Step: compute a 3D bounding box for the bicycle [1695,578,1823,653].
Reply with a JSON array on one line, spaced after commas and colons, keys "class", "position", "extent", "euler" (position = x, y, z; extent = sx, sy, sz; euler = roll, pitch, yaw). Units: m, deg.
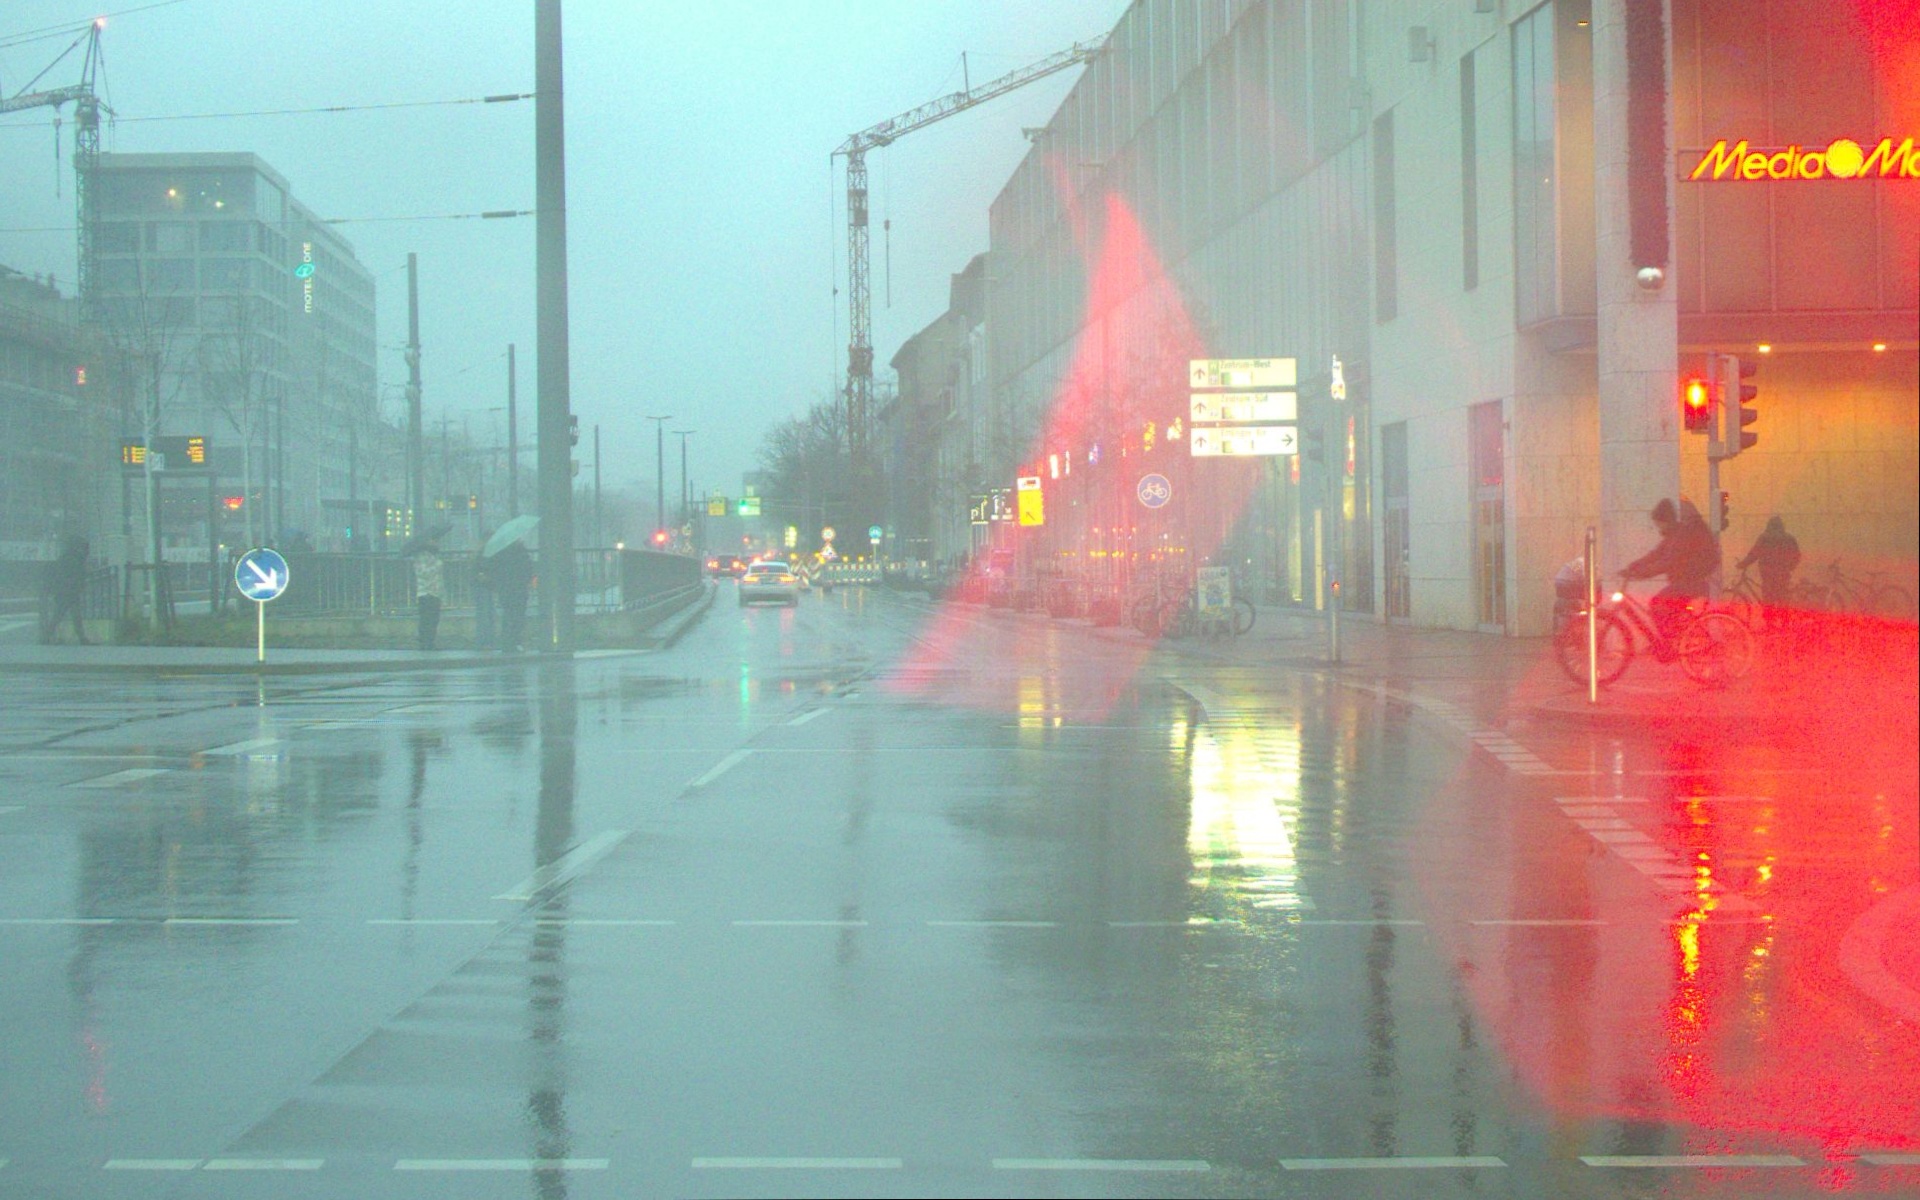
[{"class": "bicycle", "position": [11.688, 0.228, 50.323], "extent": [1.768, 1.066, 0.524], "euler": [1, 0, 8]}]

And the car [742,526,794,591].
[{"class": "car", "position": [-6.082, -1.305, 108.928], "extent": [1.577, 2.007, 3.172], "euler": [-1, 1, -3]}]

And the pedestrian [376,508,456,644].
[{"class": "pedestrian", "position": [-7.370, -0.321, 46.558], "extent": [0.821, 1.825, 0.786], "euler": [1, 0, -31]}]

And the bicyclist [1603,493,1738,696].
[{"class": "bicyclist", "position": [6.652, -0.057, 32.225], "extent": [1.157, 1.865, 0.745], "euler": [1, 0, 7]}]

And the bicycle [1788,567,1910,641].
[{"class": "bicycle", "position": [13.135, 0.064, 50.814], "extent": [1.646, 1.066, 0.525], "euler": [1, 0, -4]}]

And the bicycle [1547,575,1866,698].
[{"class": "bicycle", "position": [6.961, 0.332, 32.183], "extent": [2.857, 1.095, 0.745], "euler": [1, 0, 8]}]

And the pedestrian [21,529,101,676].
[{"class": "pedestrian", "position": [-12.432, 0.032, 47.534], "extent": [0.785, 2.007, 0.726], "euler": [1, 1, 42]}]

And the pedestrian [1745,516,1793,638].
[{"class": "pedestrian", "position": [11.683, -0.333, 49.667], "extent": [0.600, 1.739, 0.524], "euler": [1, 0, 8]}]

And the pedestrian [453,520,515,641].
[{"class": "pedestrian", "position": [-6.654, -0.275, 48.025], "extent": [0.612, 1.680, 0.577], "euler": [1, 1, 42]}]

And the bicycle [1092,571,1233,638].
[{"class": "bicycle", "position": [3.616, 0.082, 61.459], "extent": [2.442, 1.150, 0.674], "euler": [-1, 0, -1]}]
